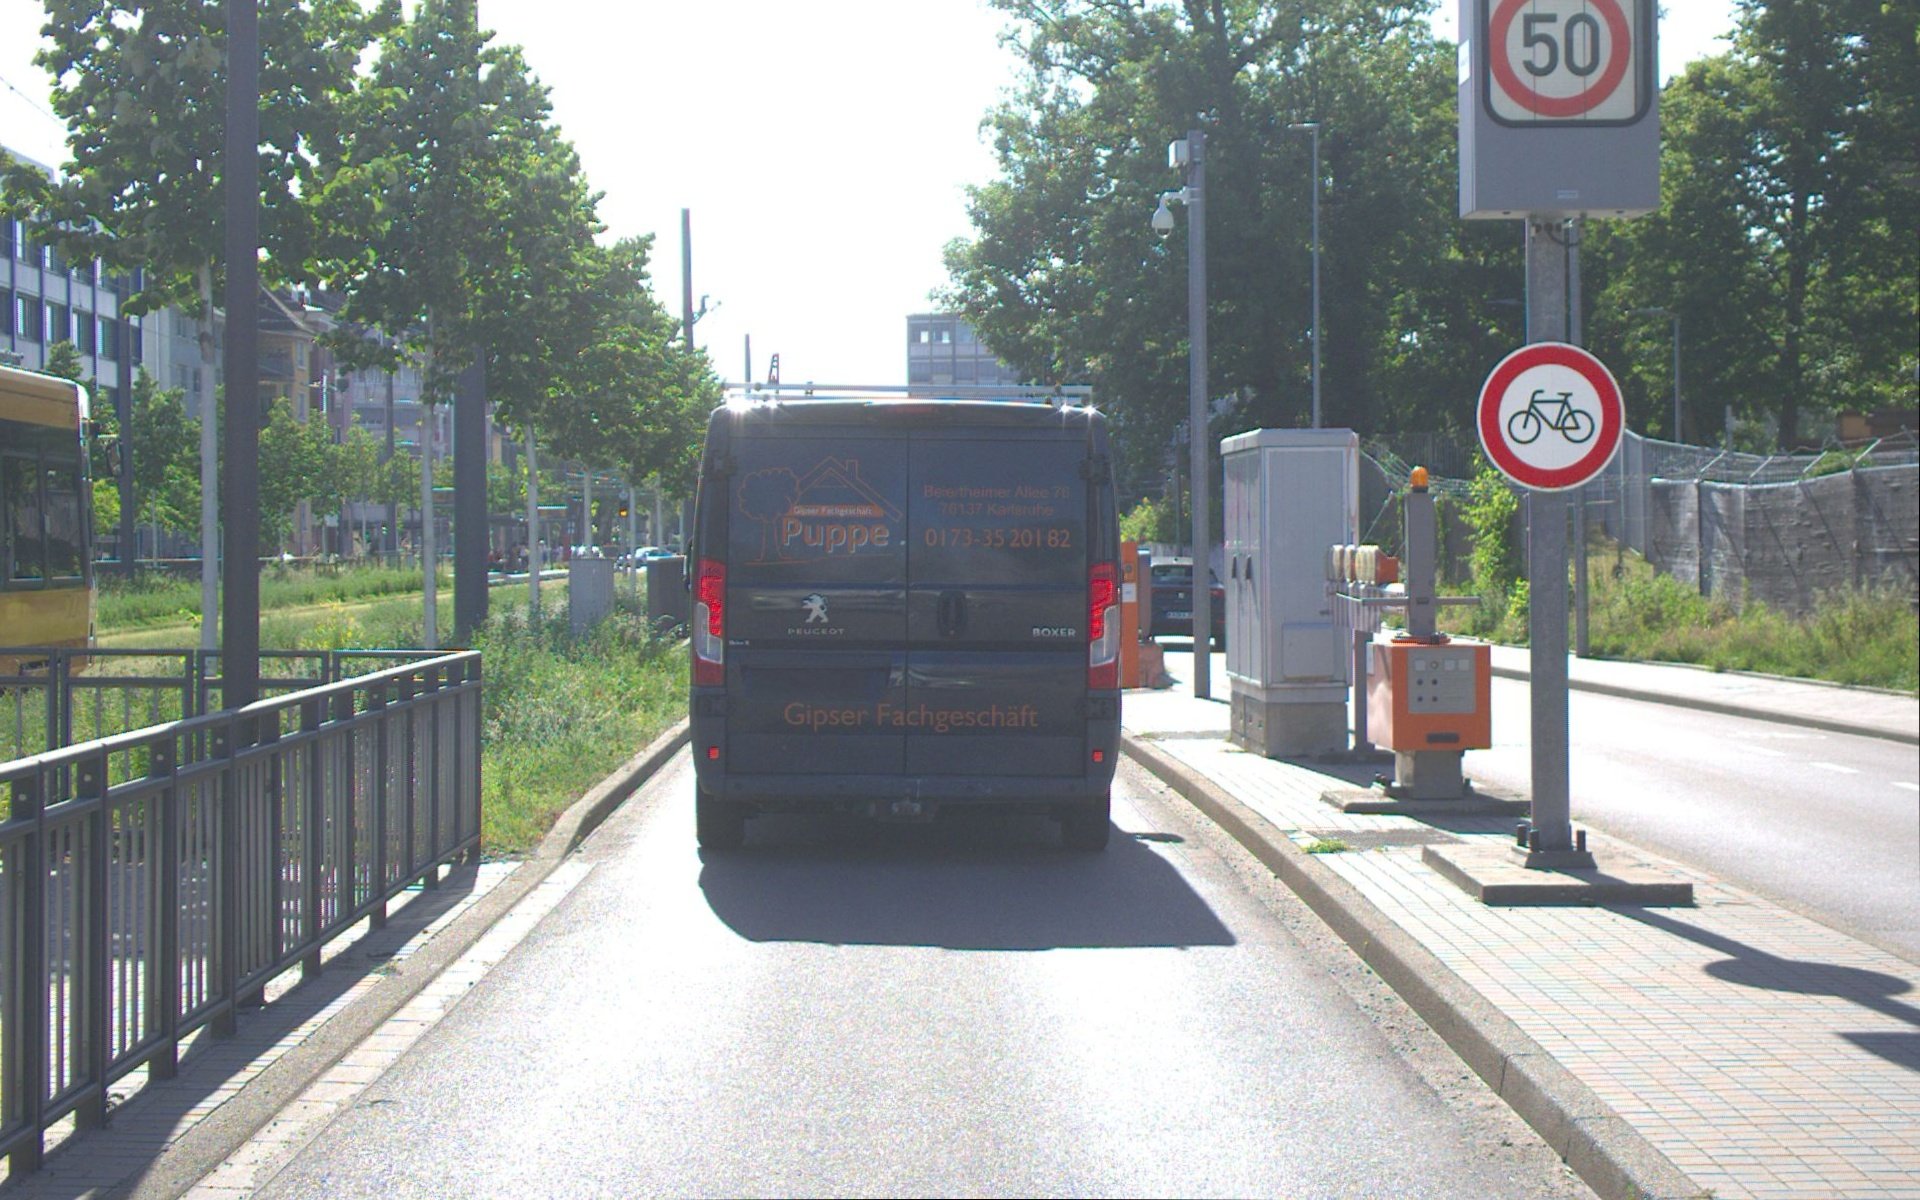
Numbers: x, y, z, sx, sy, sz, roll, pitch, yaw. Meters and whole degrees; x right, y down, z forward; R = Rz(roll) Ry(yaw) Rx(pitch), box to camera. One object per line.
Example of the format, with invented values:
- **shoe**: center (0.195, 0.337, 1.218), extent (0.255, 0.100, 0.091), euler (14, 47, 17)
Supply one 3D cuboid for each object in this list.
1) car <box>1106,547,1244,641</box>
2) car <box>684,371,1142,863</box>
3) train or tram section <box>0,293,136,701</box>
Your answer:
- **car**: center (3.451, -0.130, 55.843), extent (1.763, 1.457, 4.001), euler (0, 1, -3)
- **car**: center (-0.277, 0.050, 17.737), extent (2.082, 2.241, 4.000), euler (0, 1, -2)
- **train or tram section**: center (-9.597, -0.926, 30.476), extent (1.993, 3.656, 11.684), euler (0, 1, -1)
